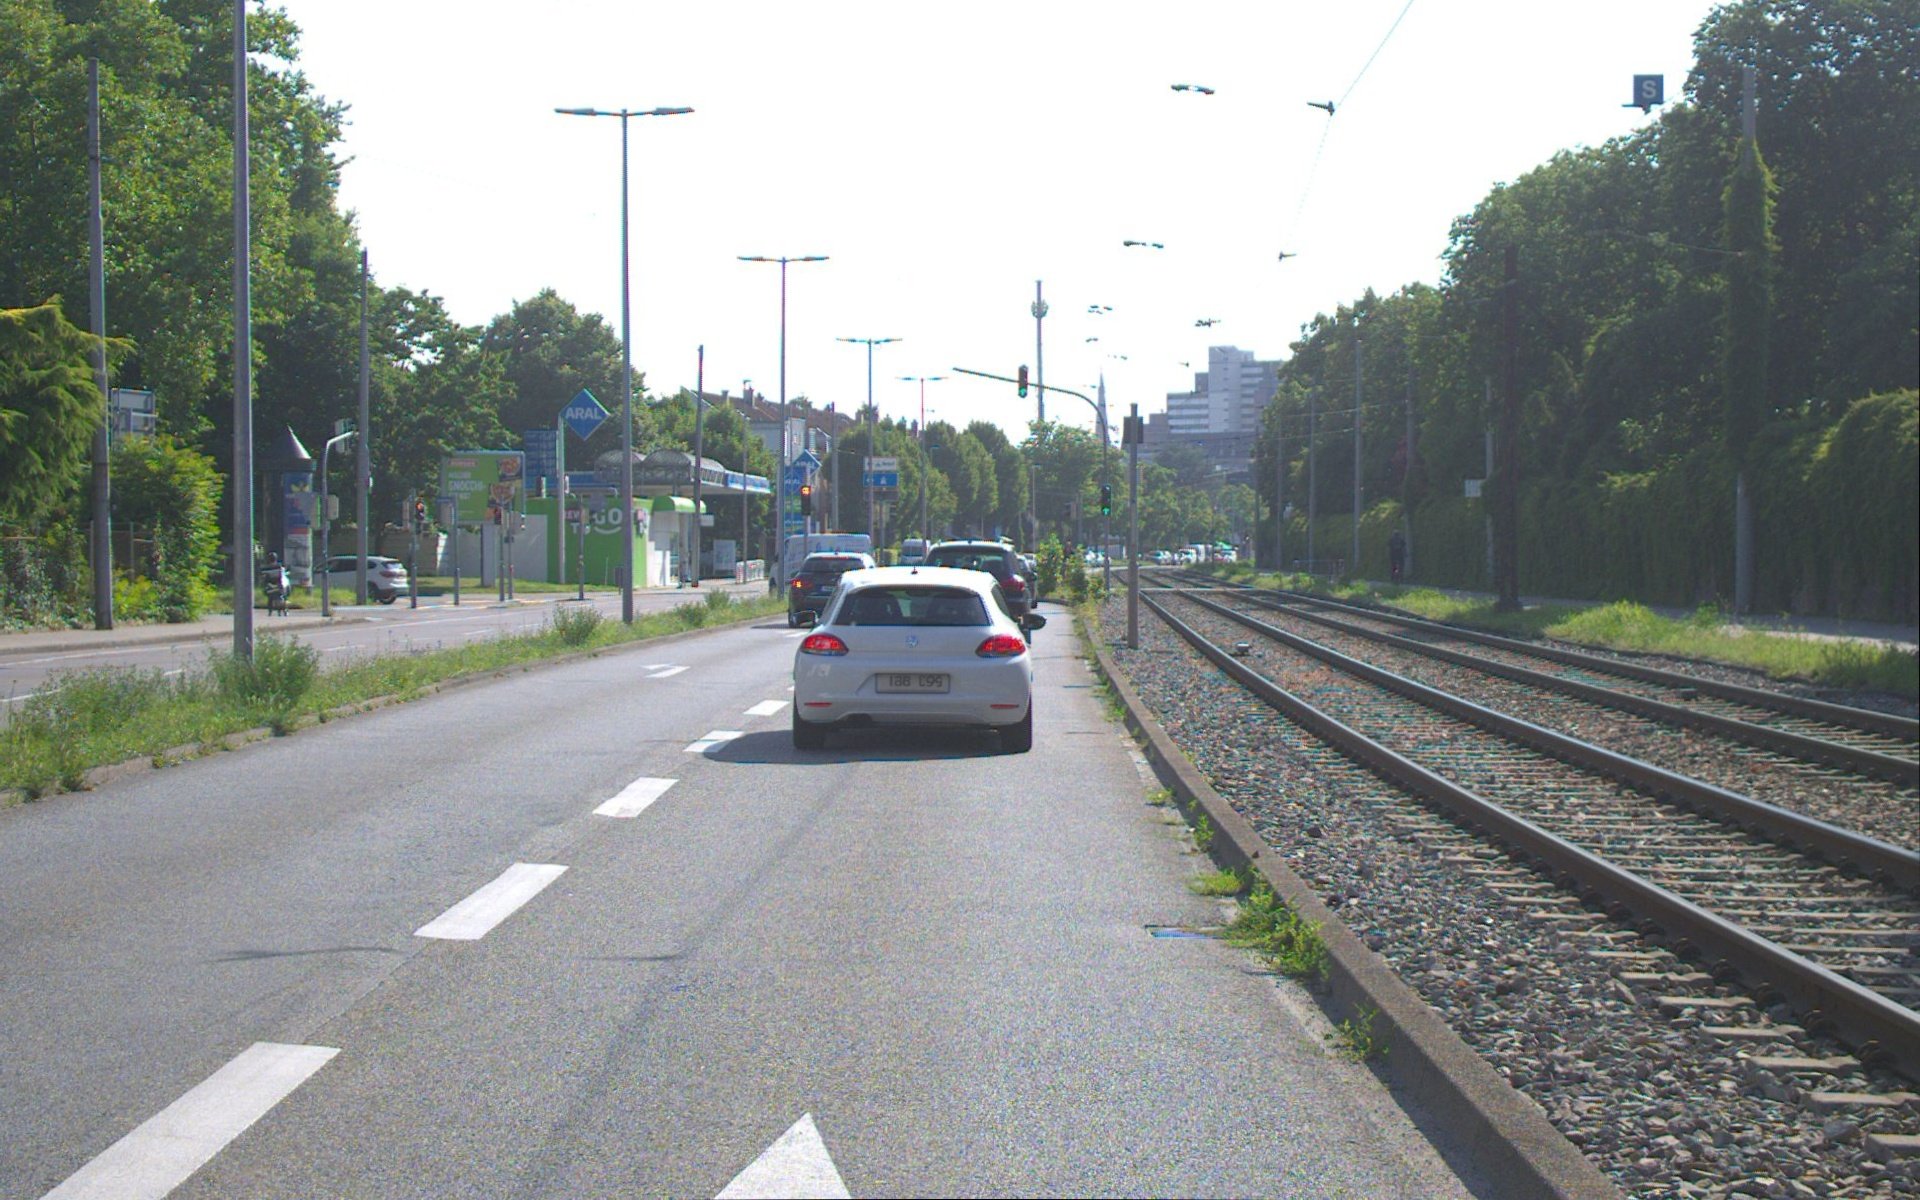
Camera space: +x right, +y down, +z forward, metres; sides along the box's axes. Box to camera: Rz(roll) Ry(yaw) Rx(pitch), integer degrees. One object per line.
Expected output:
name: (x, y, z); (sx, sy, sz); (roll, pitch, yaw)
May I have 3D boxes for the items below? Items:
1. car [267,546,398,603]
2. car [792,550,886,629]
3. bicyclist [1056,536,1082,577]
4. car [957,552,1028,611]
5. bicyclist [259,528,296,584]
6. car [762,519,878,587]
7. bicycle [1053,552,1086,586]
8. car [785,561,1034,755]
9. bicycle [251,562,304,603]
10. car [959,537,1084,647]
car: (-20.872, -0.852, 114.408); (3.939, 1.728, 1.655); (2, 0, 4)
car: (-2.400, -0.238, 68.734); (1.760, 1.480, 4.645); (2, 1, -2)
bicyclist: (3.772, -1.497, 118.761); (0.644, 1.411, 1.012); (0, 1, 17)
car: (0.858, -0.512, 92.371); (1.749, 1.480, 3.601); (2, 1, -2)
bicyclist: (-17.824, -1.157, 89.821); (0.662, 1.447, 1.051); (0, 1, 6)
car: (-4.140, -1.377, 101.098); (1.817, 1.956, 4.403); (0, 1, -25)
bicycle: (3.795, -1.081, 118.819); (0.644, 1.150, 1.935); (0, 1, 17)
car: (-0.387, 0.404, 26.862); (1.781, 1.351, 3.601); (2, 1, -1)
bicycle: (-17.814, -0.469, 89.778); (0.662, 1.046, 2.580); (0, 1, 6)
car: (0.910, -0.152, 52.937); (1.724, 1.587, 3.601); (2, 1, -2)
